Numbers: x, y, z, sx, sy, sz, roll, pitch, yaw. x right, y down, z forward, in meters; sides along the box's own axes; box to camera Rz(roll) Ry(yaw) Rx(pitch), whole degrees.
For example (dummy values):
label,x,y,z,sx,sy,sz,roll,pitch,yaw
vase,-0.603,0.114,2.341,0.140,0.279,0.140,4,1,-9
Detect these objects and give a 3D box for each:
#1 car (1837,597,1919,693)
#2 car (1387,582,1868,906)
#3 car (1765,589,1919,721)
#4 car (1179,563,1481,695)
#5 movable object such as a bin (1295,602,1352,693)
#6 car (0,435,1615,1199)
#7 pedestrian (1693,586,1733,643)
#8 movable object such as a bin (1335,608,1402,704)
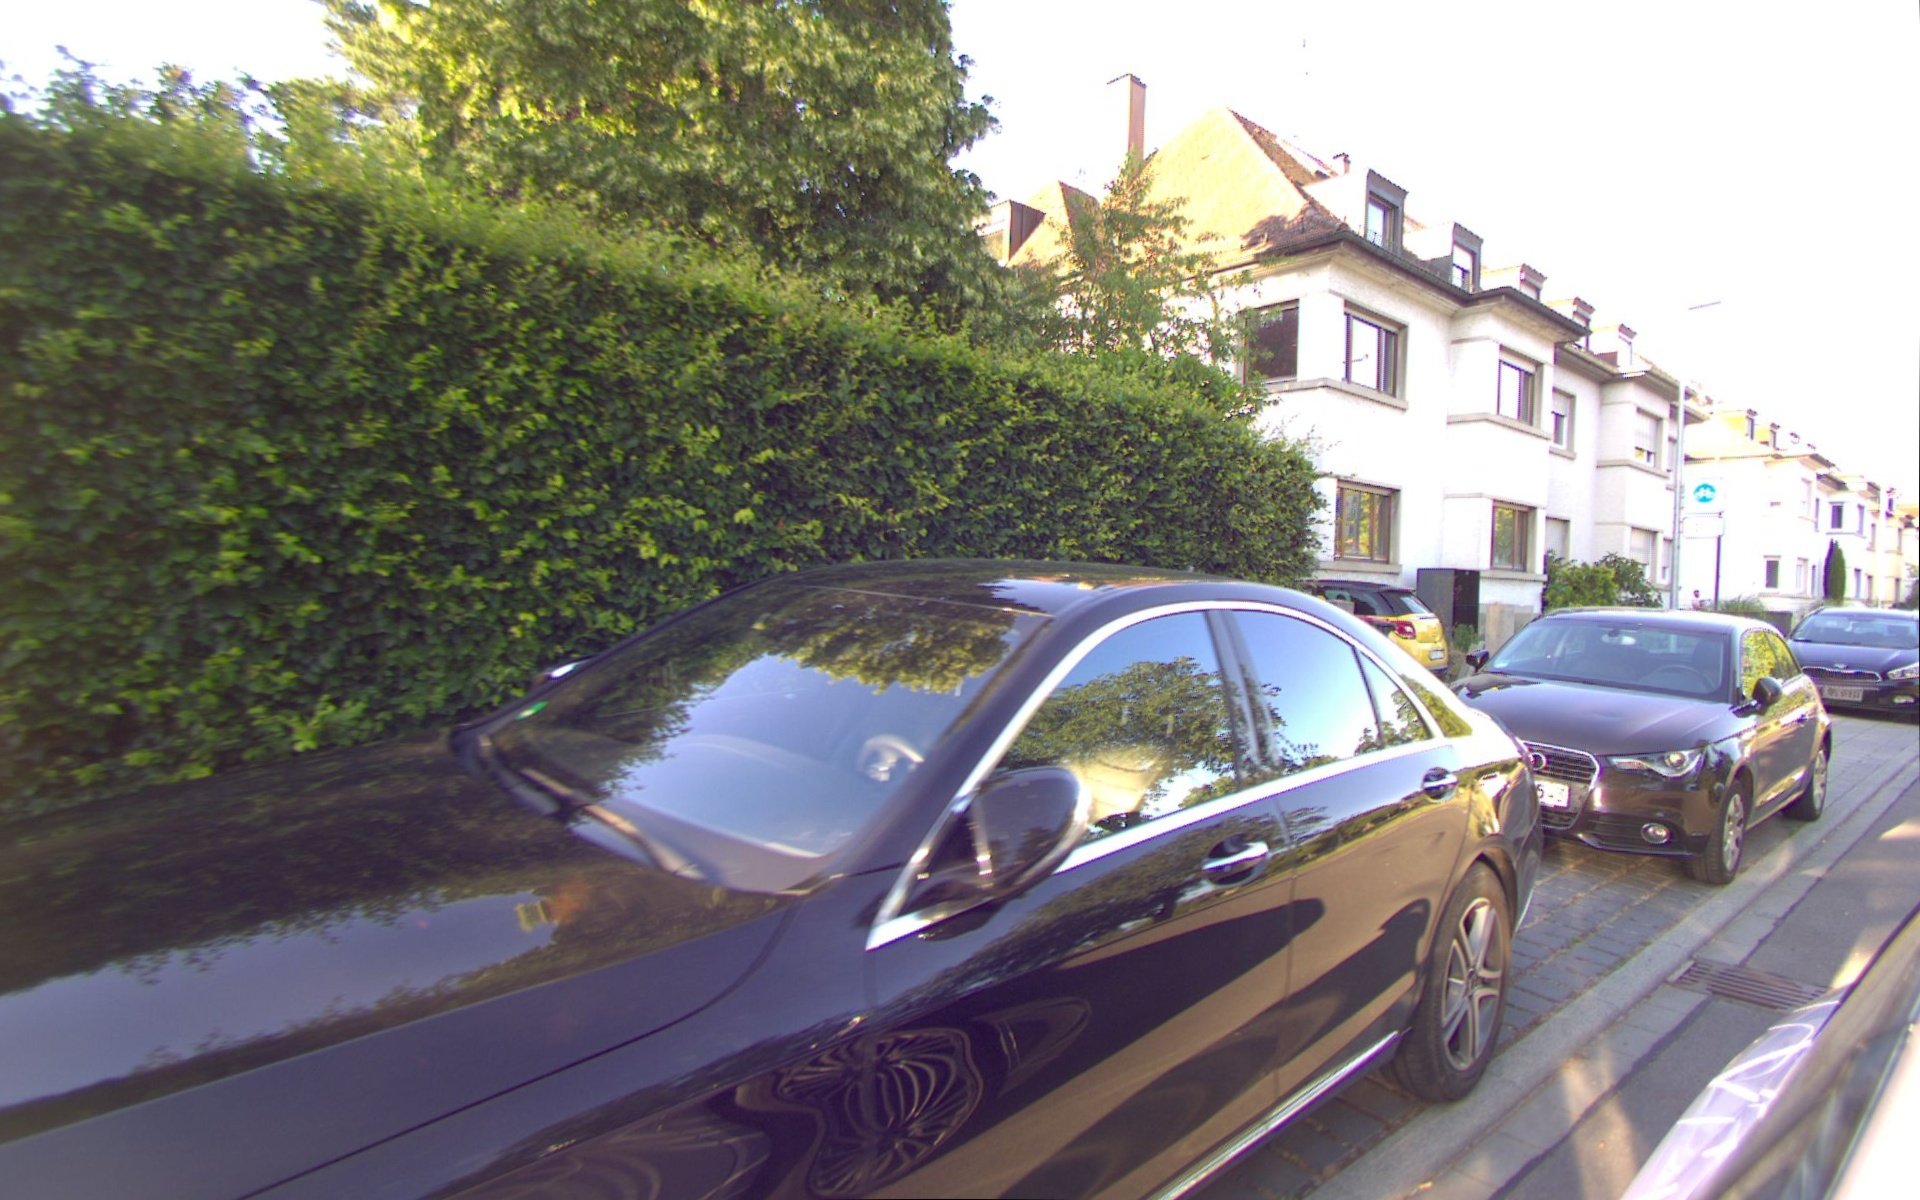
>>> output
label,x,y,z,sx,sy,sz,roll,pitch,yaw
car,16.871,0.760,17.744,3.915,1.489,1.722,0,4,-42
car,4.554,0.680,6.673,3.868,1.445,1.644,0,3,-42
car,12.955,0.691,14.265,4.182,1.492,1.750,0,5,-42
car,5.232,0.312,14.601,1.752,1.514,3.638,0,3,-44
movable object such as a bin,4.408,0.558,12.269,0.507,1.056,0.410,2,1,44
car,-0.056,0.628,2.661,4.791,1.561,1.861,0,2,-43
pedestrian,27.689,0.522,37.225,1.081,2.039,0.856,1,1,34
movable object such as a bin,4.788,0.636,11.855,0.507,1.056,0.648,2,1,43
